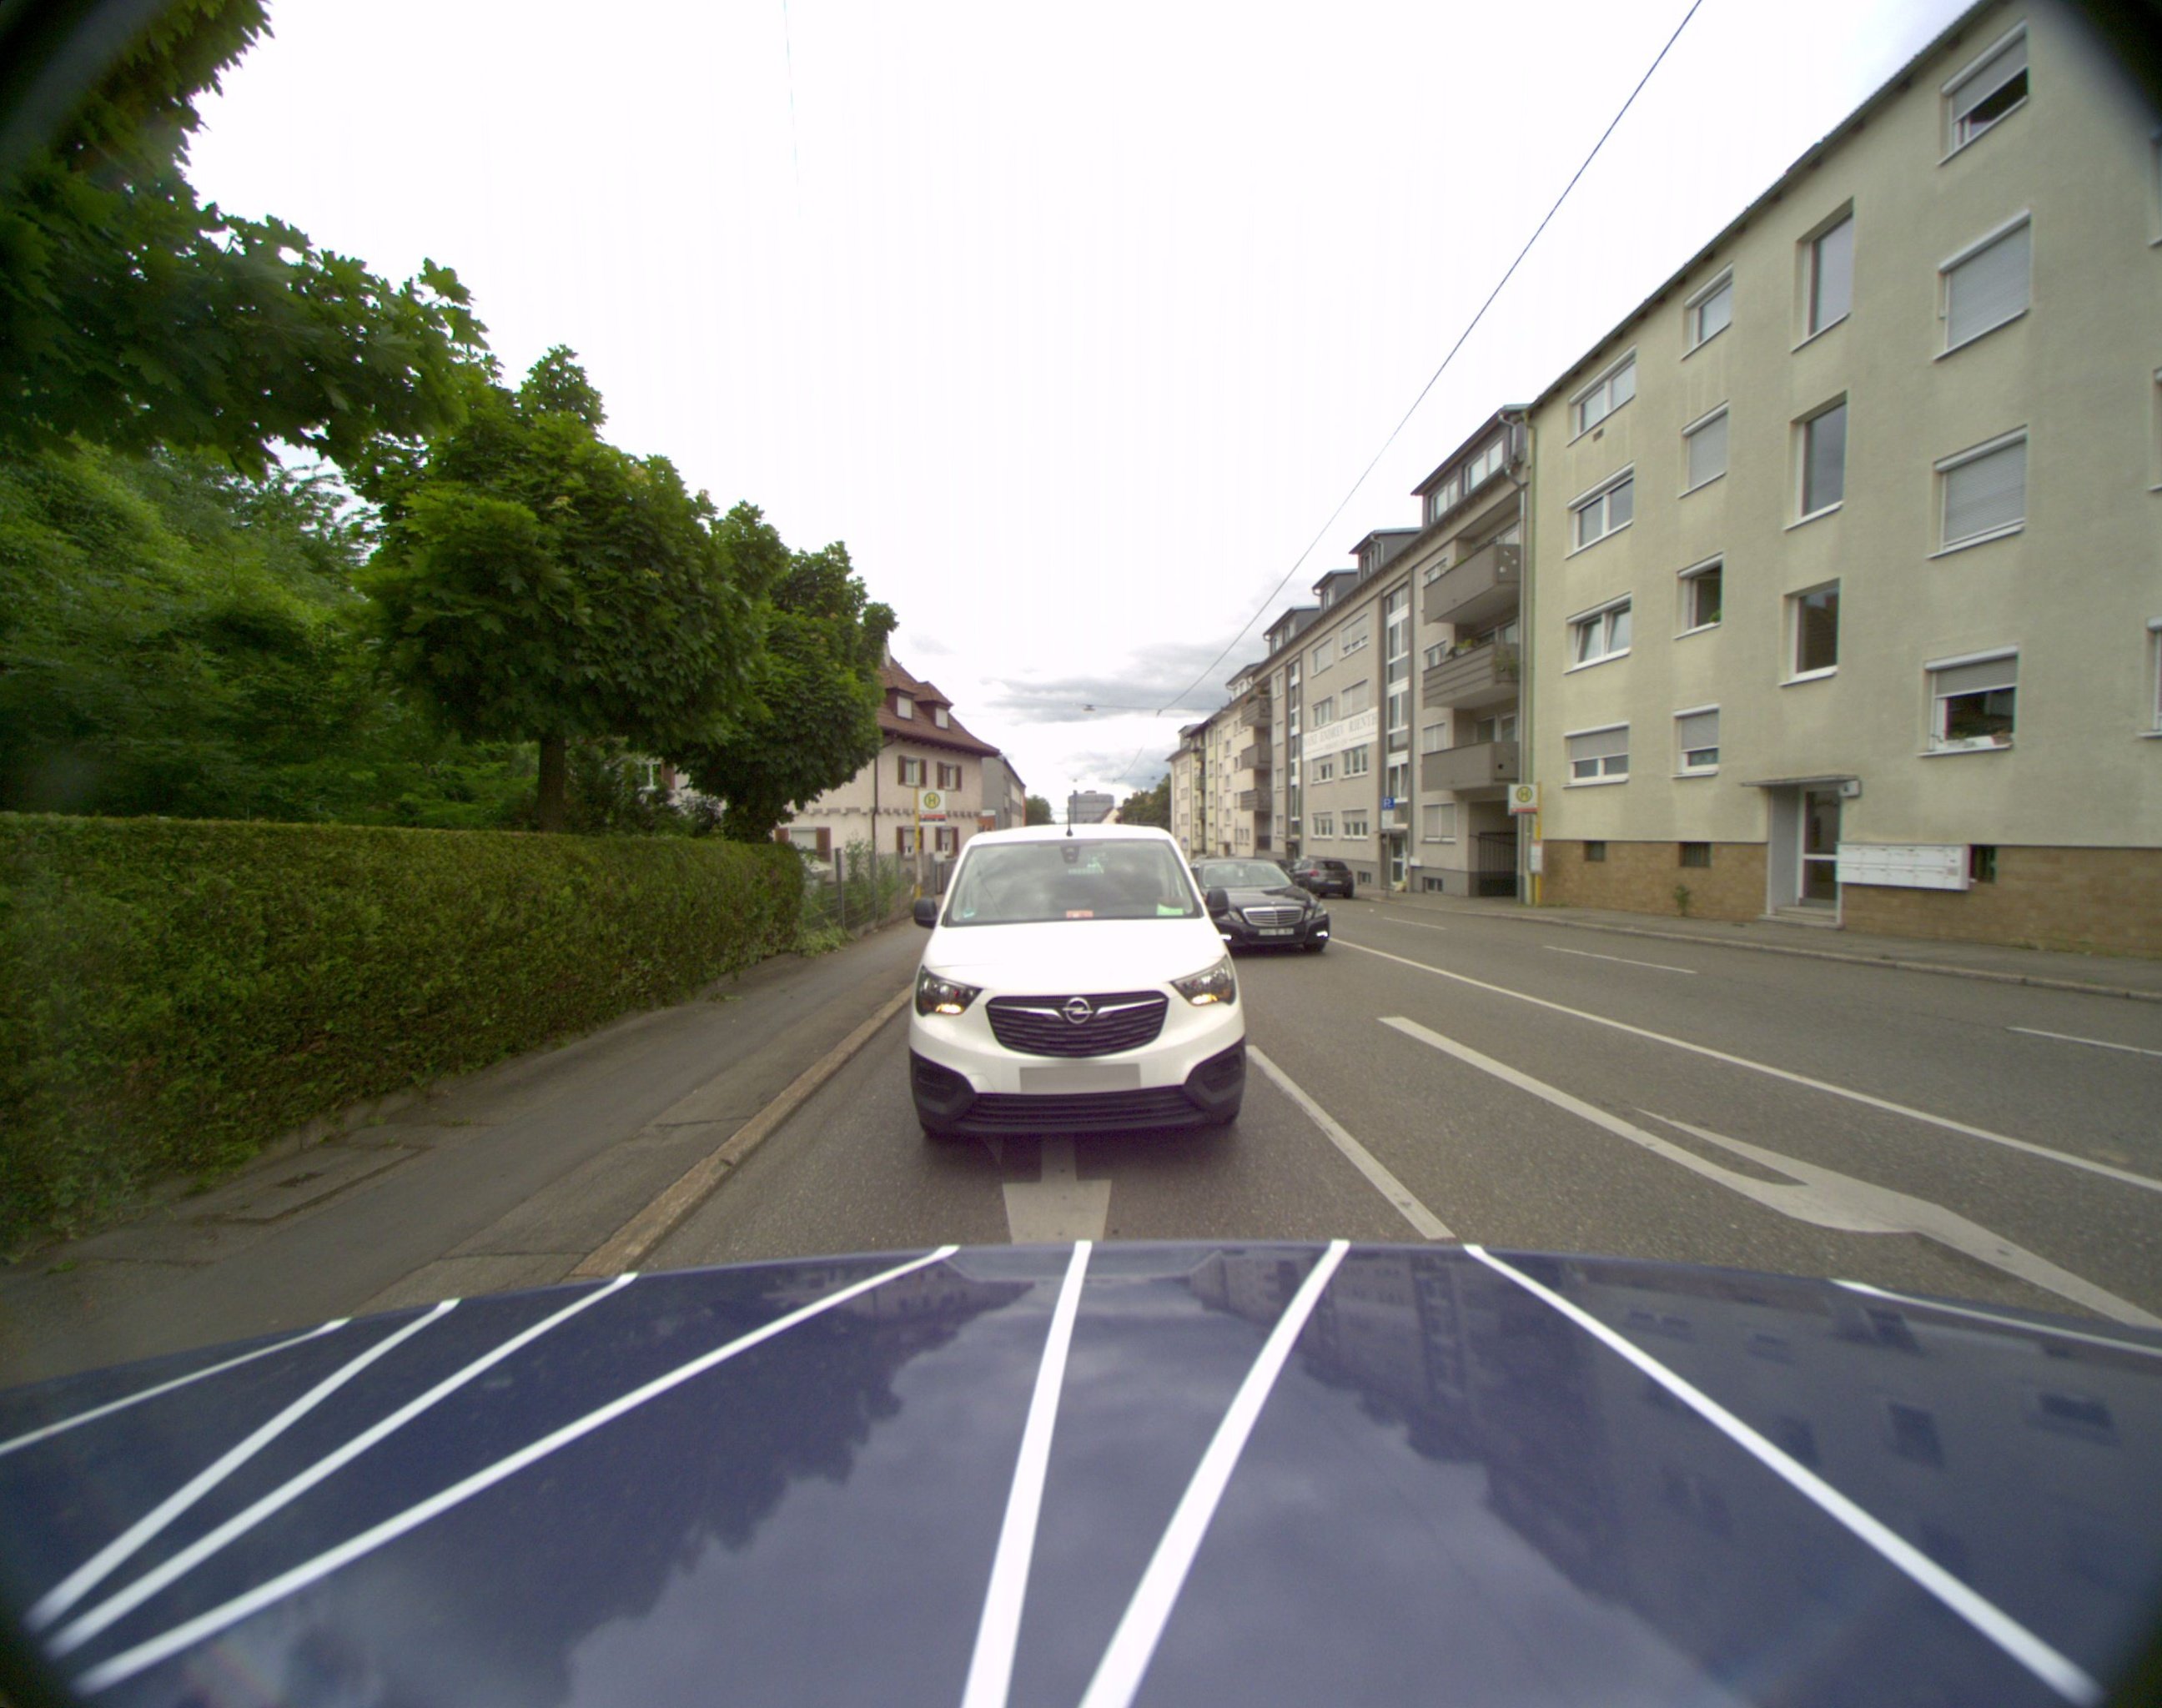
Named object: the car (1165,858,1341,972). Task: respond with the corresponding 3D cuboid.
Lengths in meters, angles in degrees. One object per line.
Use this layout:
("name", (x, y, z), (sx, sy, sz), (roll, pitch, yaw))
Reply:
("car", (2.622, 0.854, 12.705), (1.752, 1.446, 4.444), (-2, 1, -2))

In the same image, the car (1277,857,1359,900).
("car", (8.895, 0.868, 28.856), (1.773, 1.428, 3.800), (1, 0, -2))

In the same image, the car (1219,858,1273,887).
("car", (8.532, 0.925, 39.610), (1.773, 1.397, 4.307), (0, 0, -1))

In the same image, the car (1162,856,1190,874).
("car", (8.200, 0.920, 65.983), (1.875, 1.372, 4.307), (2, 0, 0))

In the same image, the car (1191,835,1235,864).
("car", (8.378, -0.313, 48.624), (1.875, 1.743, 4.306), (1, 0, -2))

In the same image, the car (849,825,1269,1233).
("car", (-0.152, 0.762, 5.396), (1.803, 1.736, 3.999), (-3, 1, -2))

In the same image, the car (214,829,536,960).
("car", (-12.609, 0.609, 13.779), (1.994, 2.002, 4.008), (-1, 0, 40))
